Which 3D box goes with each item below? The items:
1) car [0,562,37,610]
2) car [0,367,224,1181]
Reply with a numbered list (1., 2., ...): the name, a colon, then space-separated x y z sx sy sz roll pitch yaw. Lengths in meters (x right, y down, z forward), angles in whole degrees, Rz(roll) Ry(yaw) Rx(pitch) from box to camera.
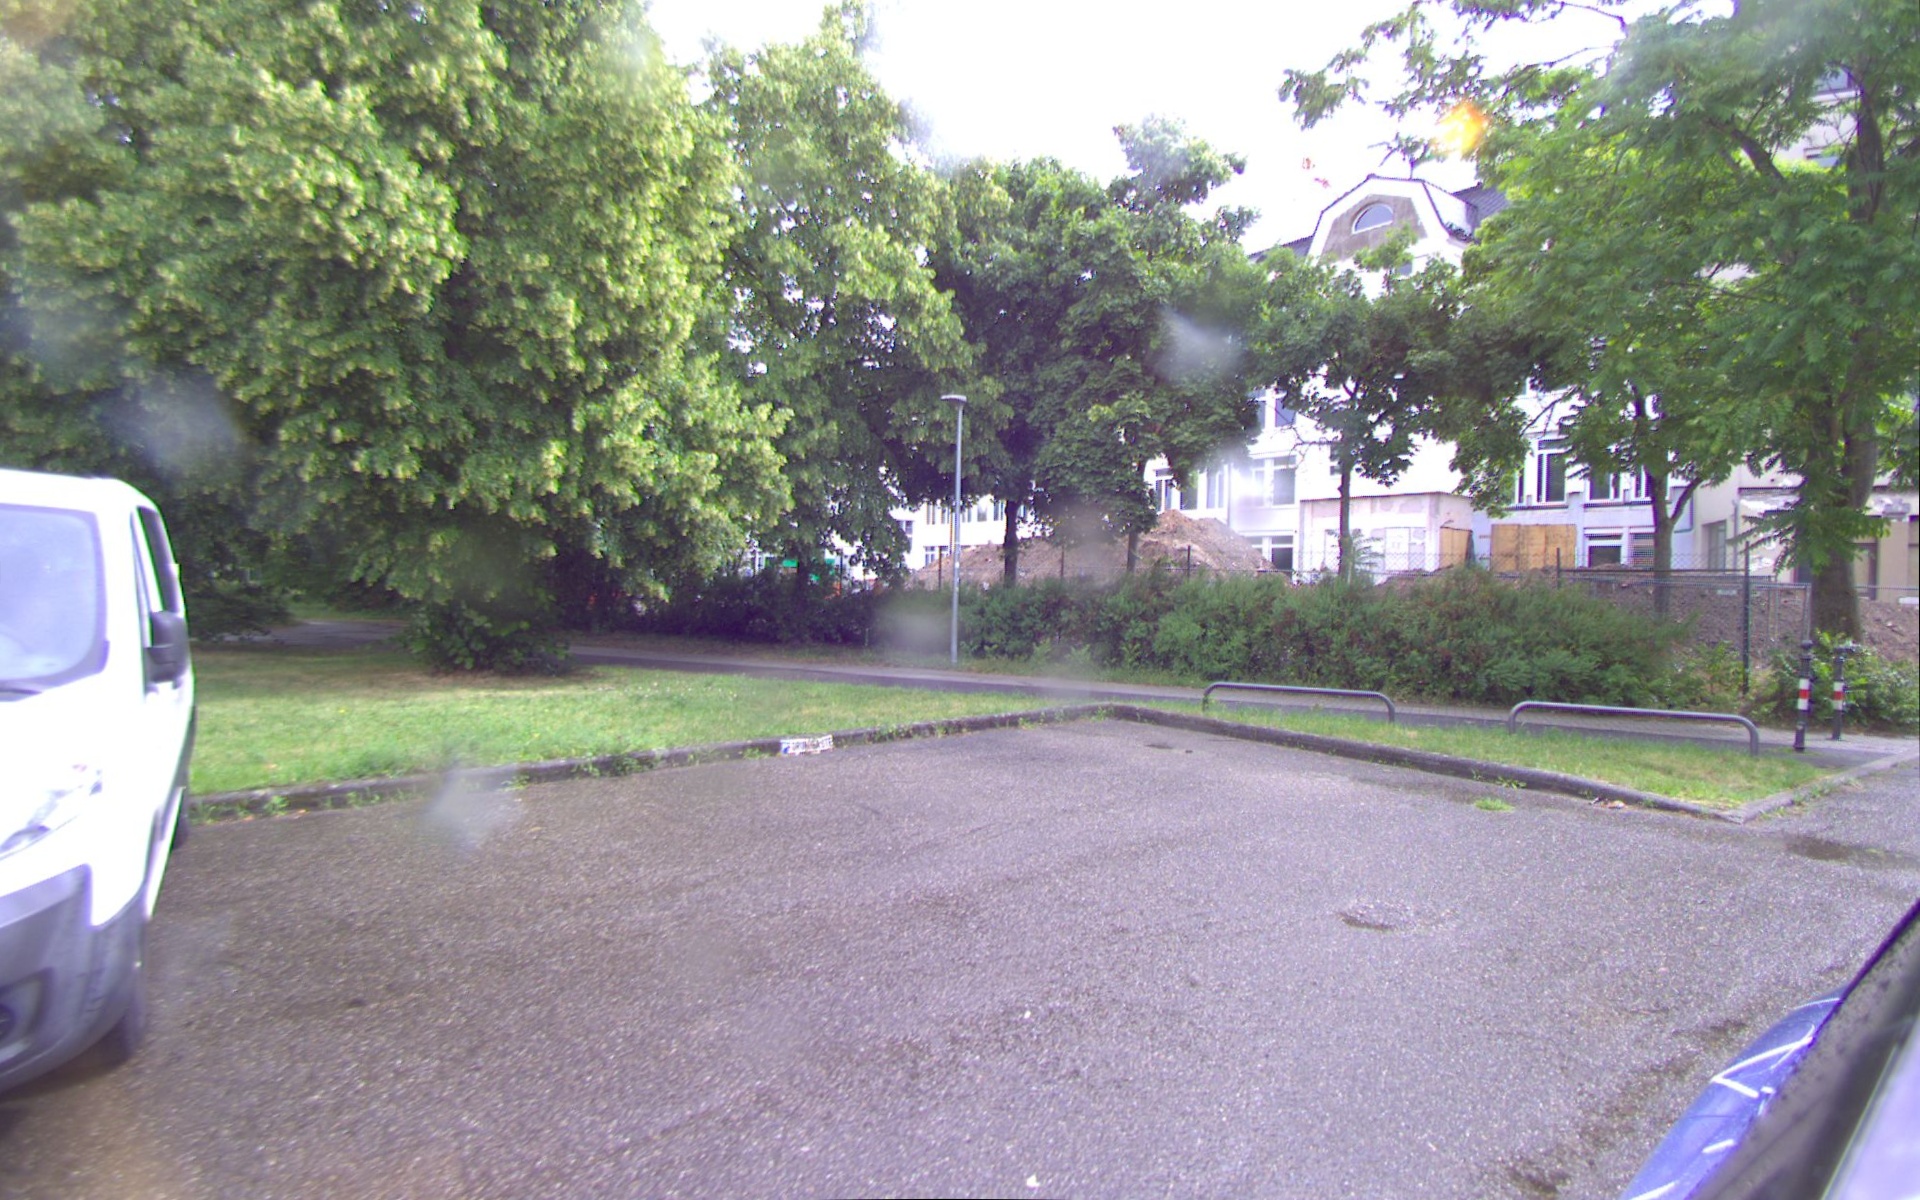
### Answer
1. car: -42.300 -0.693 42.795 4.497 1.965 2.053 3 0 -36
2. car: -4.235 0.388 4.029 2.060 1.950 4.889 0 1 -36
